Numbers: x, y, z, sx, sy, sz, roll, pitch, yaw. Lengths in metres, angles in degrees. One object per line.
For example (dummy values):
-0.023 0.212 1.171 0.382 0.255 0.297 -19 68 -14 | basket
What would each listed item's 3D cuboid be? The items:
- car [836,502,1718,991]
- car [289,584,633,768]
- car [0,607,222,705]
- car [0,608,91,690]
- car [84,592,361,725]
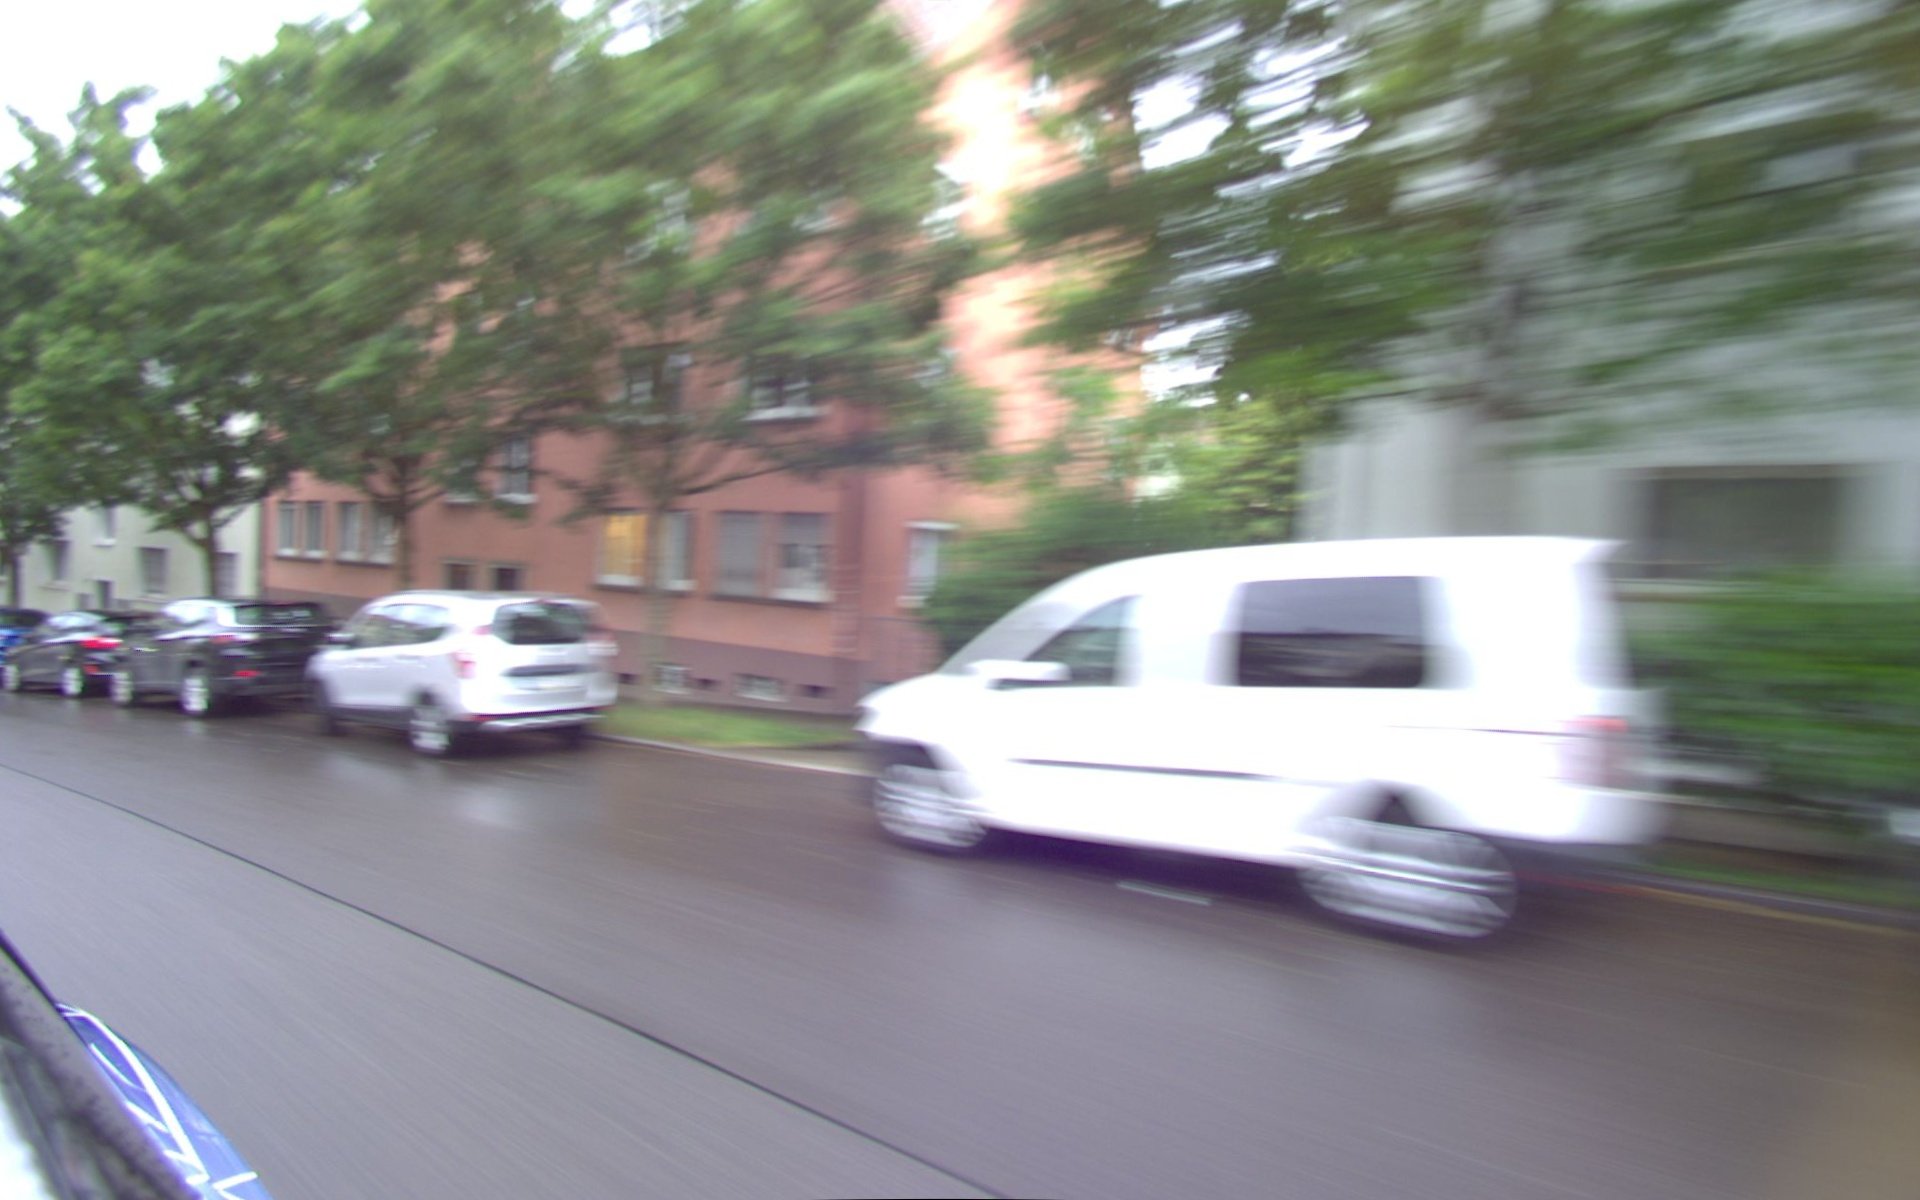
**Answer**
1.544 0.561 5.812 4.475 1.790 1.836 0 -2 37 | car
-5.785 0.706 11.478 4.594 1.703 1.730 0 0 39 | car
-14.925 0.887 17.582 4.343 1.504 1.775 0 0 29 | car
-19.473 0.913 20.268 4.845 1.504 1.774 0 0 32 | car
-10.820 0.744 14.767 4.467 1.653 1.773 0 1 33 | car
